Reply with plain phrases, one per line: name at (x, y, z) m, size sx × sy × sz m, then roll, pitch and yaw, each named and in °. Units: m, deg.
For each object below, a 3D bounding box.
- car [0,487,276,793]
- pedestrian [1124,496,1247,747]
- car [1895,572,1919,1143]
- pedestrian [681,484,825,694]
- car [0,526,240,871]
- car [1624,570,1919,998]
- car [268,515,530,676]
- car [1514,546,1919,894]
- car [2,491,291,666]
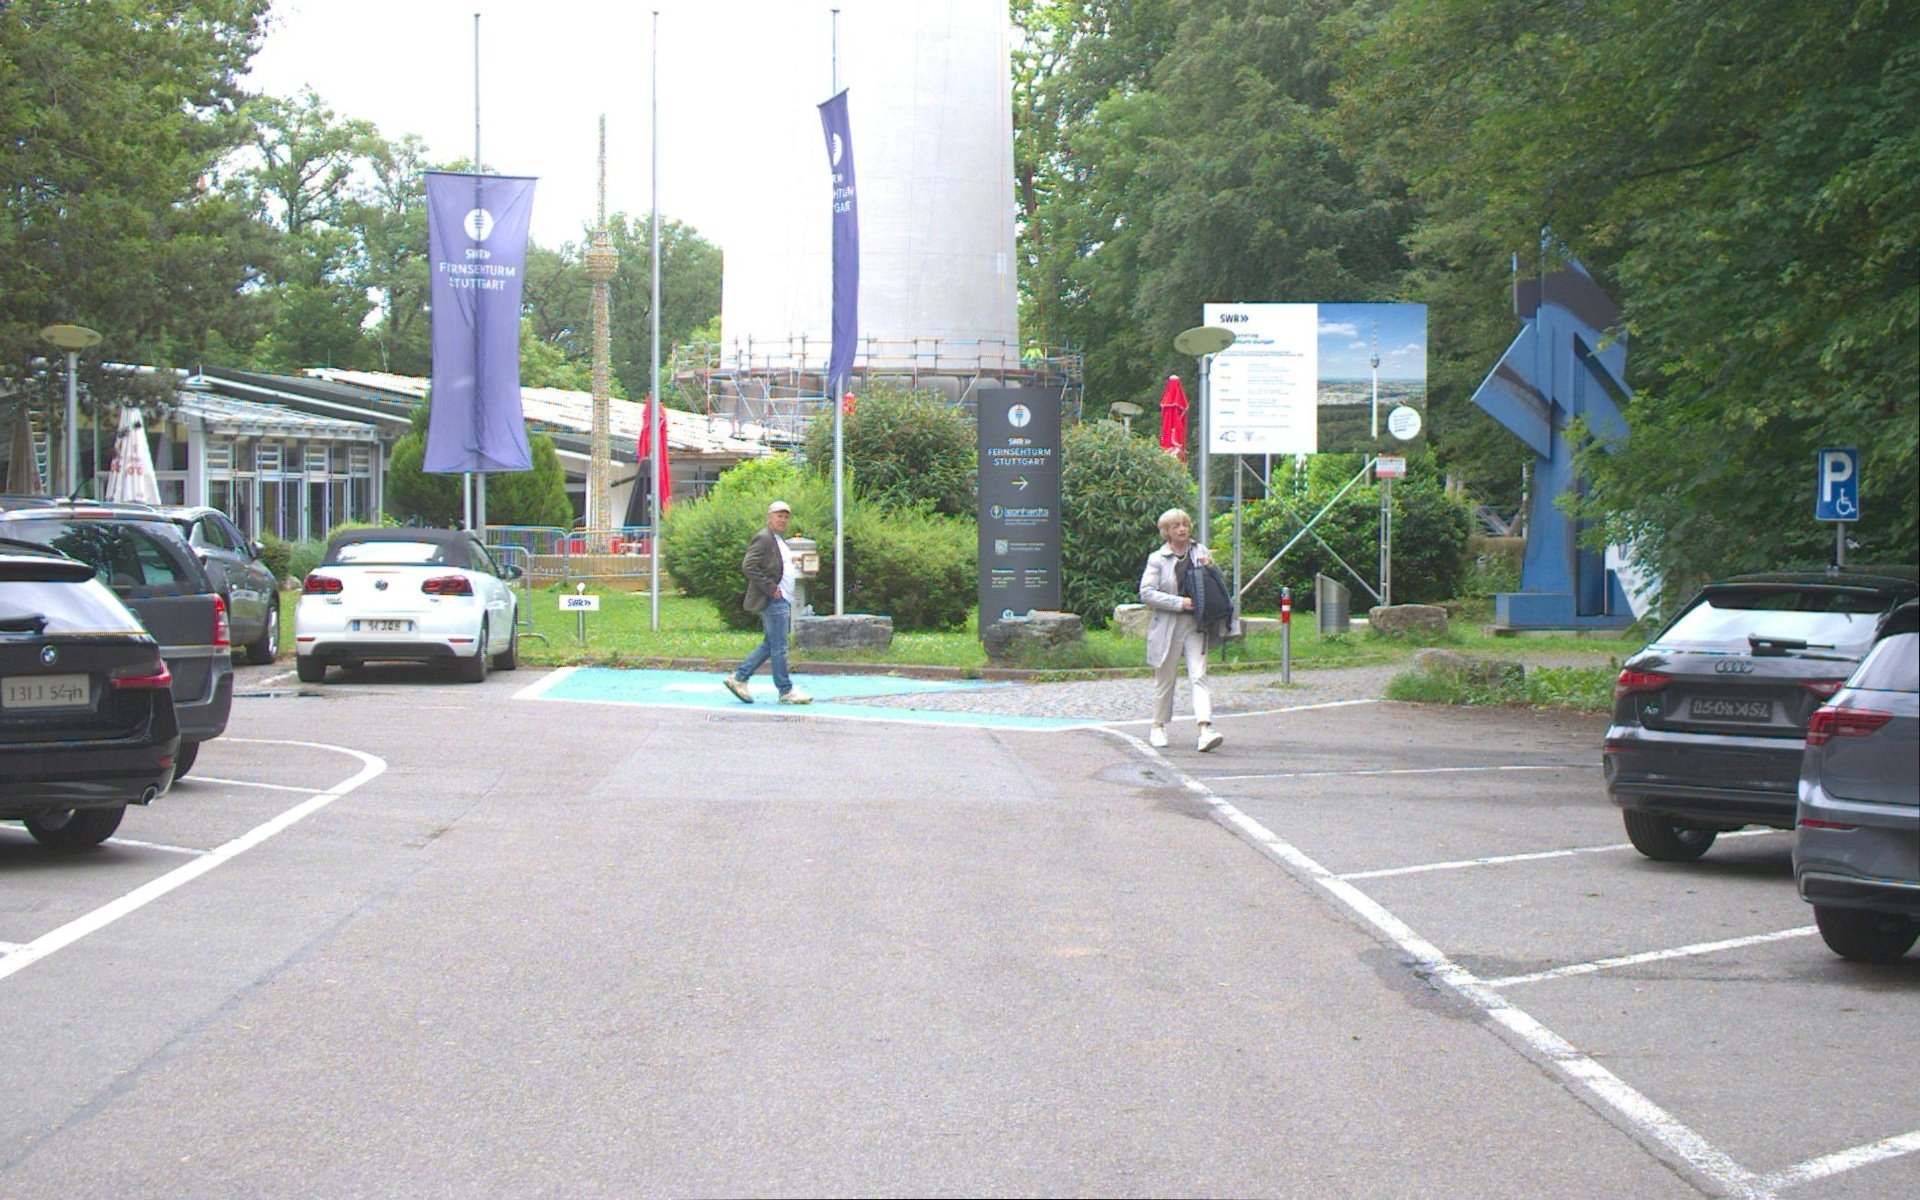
car at (-6.087, 0.143, 20.098) m, size 4.384 × 1.603 × 1.825 m, roll 2°, pitch 2°, yaw 42°
pedestrian at (1.580, 0.137, 24.181) m, size 0.762 × 1.719 × 0.897 m, roll 1°, pitch 1°, yaw 0°
car at (4.513, 0.673, 9.502) m, size 3.989 × 1.462 × 1.834 m, roll -1°, pitch 2°, yaw -42°
pedestrian at (-1.731, -0.102, 28.814) m, size 0.896 × 1.719 × 0.763 m, roll 2°, pitch 1°, yaw 33°
car at (-5.405, 0.357, 16.122) m, size 4.275 × 1.438 × 1.755 m, roll 2°, pitch 2°, yaw 42°
car at (4.472, 0.626, 13.208) m, size 1.909 × 1.417 × 3.990 m, roll 2°, pitch 2°, yaw 43°
car at (-5.323, -0.092, 33.093) m, size 1.893 × 1.423 × 4.000 m, roll 1°, pitch 1°, yaw -1°
car at (4.756, 0.509, 16.958) m, size 1.898 × 1.457 × 4.194 m, roll 3°, pitch 2°, yaw 44°
car at (-7.916, -0.249, 33.800) m, size 1.893 × 1.579 × 4.000 m, roll 1°, pitch 1°, yaw 0°
